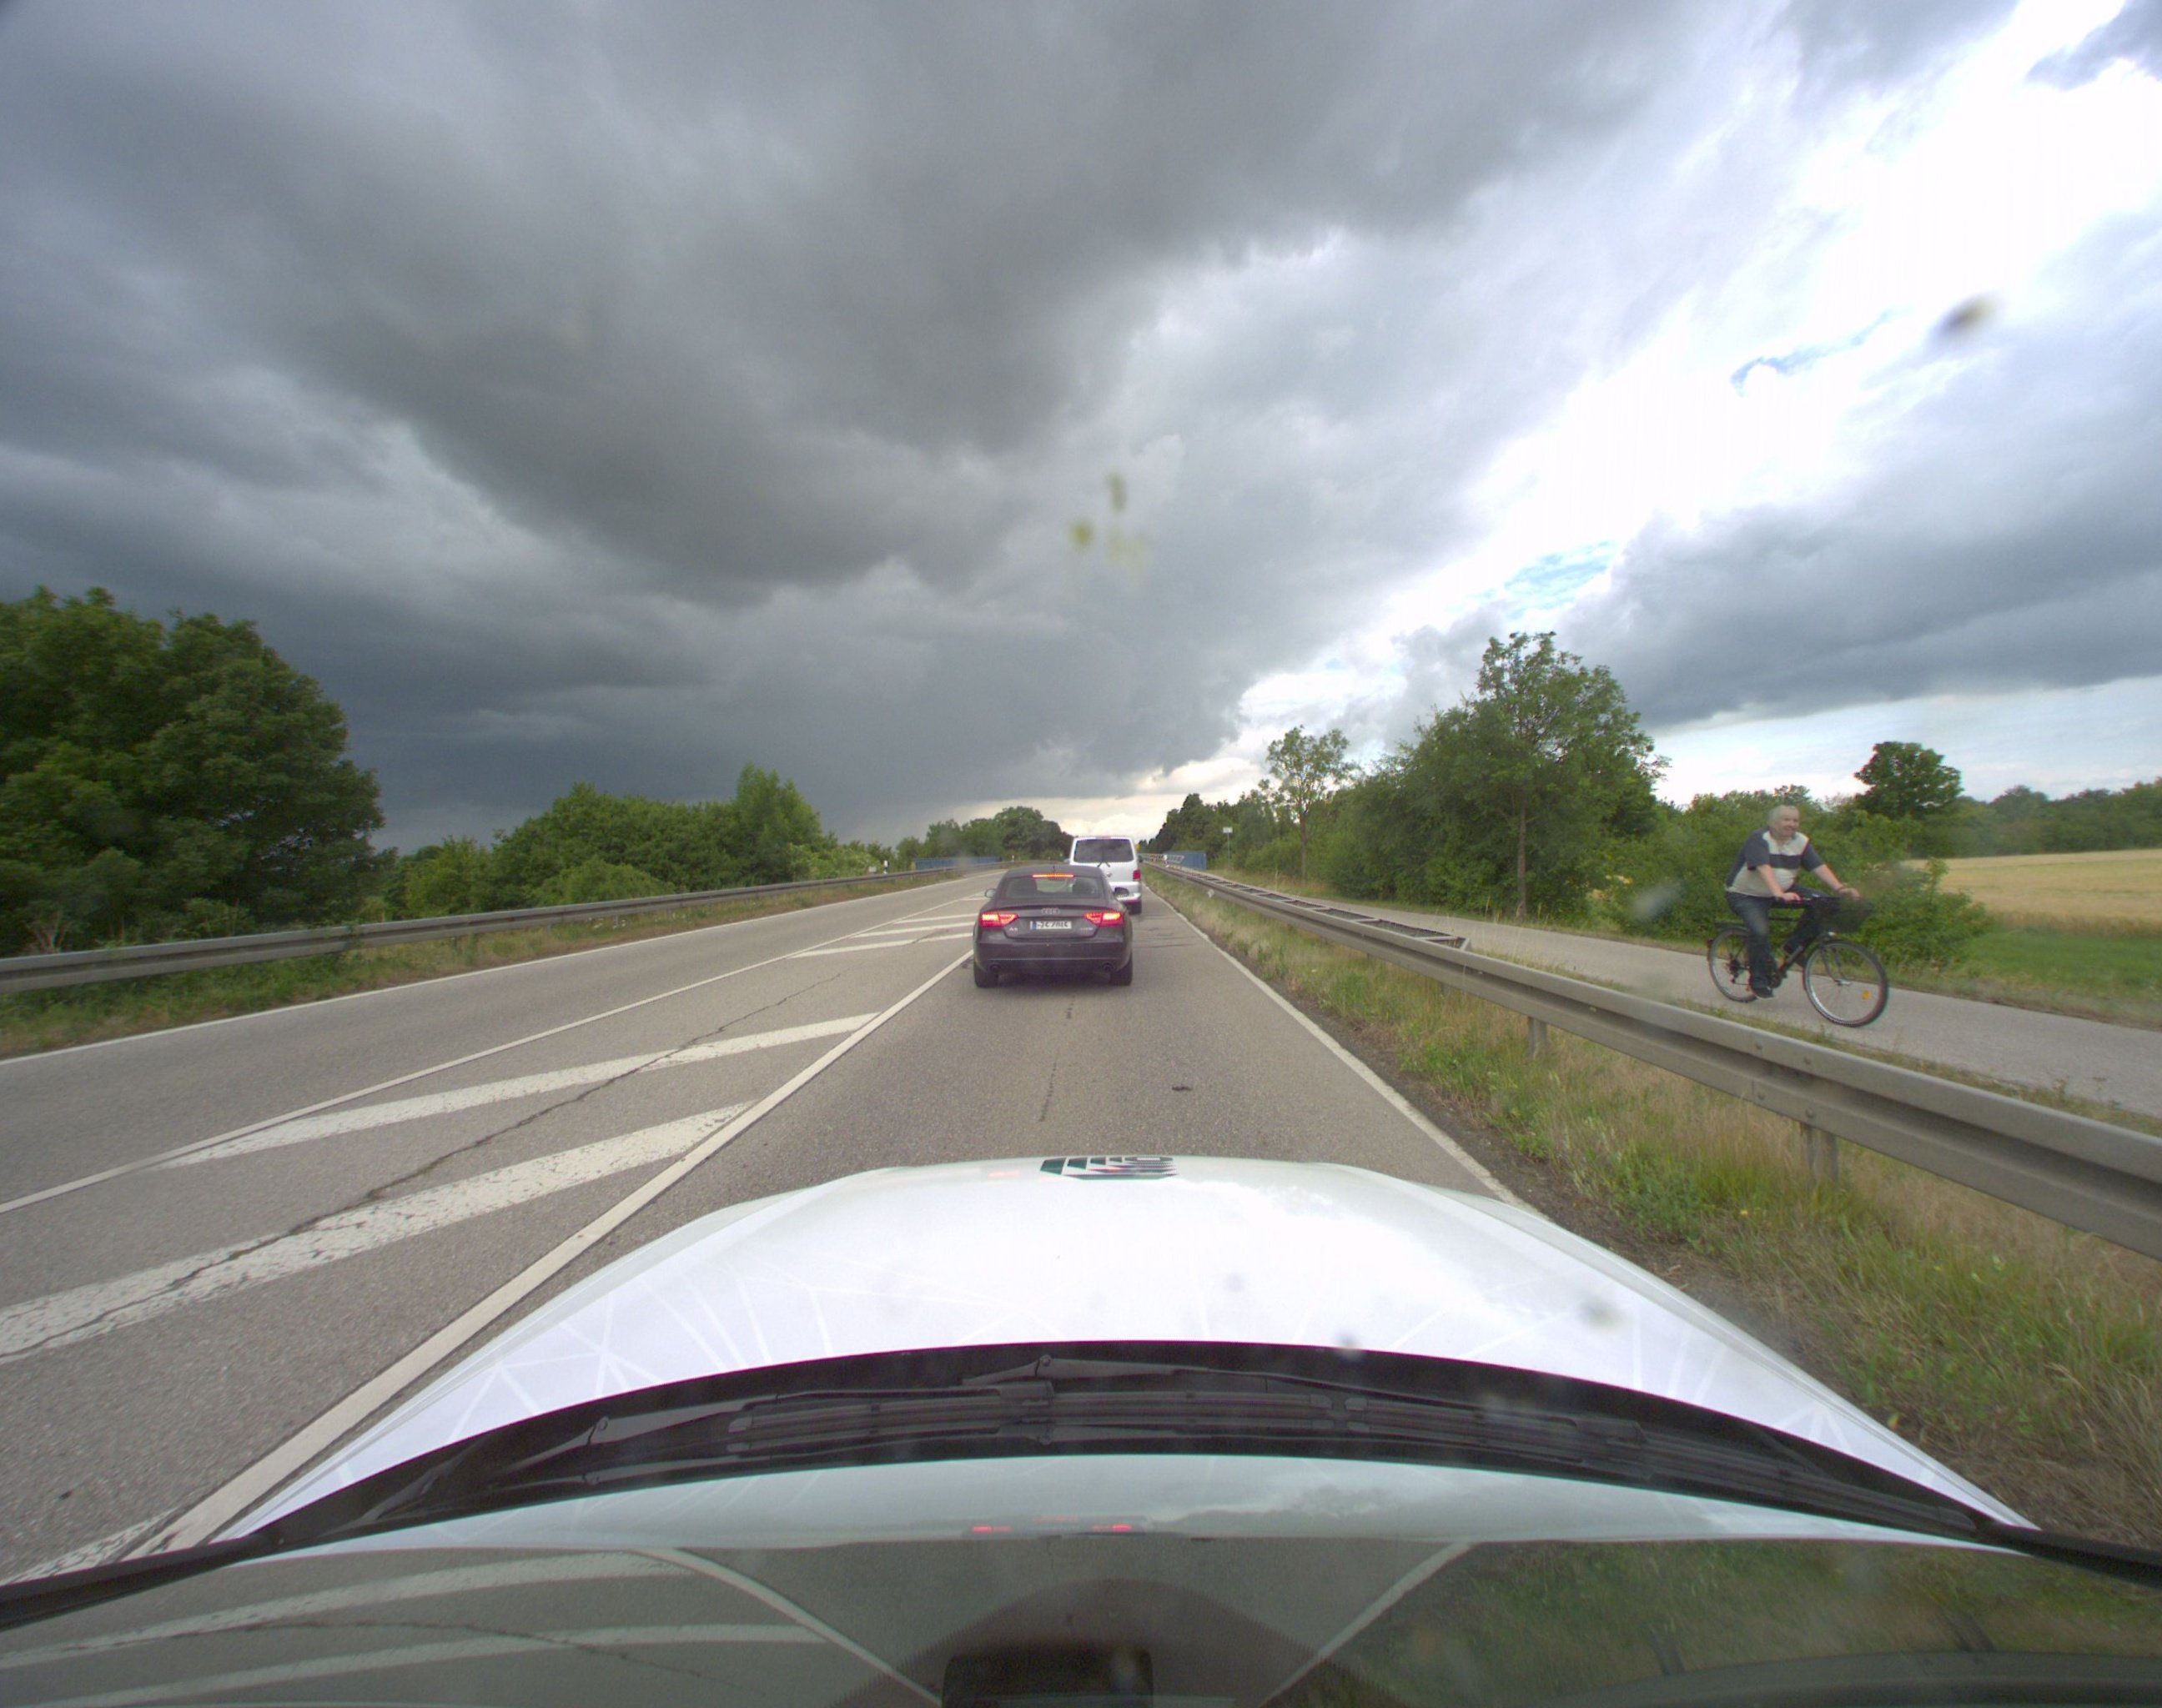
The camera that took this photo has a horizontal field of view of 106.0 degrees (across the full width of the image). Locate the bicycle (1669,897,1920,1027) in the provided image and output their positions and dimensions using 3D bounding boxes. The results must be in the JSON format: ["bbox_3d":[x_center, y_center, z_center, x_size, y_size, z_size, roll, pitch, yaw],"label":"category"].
[{"bbox_3d":[6.283,0.898,7.332,0.663,0.920,1.831,-2,0,2],"label":"bicycle"}]

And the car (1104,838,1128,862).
[{"bbox_3d":[3.678,-0.432,86.502,2.438,2.504,5.044,-1,0,2],"label":"car"}]

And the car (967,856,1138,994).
[{"bbox_3d":[-0.238,0.758,10.512,1.779,1.424,4.001,-1,-1,2],"label":"car"}]

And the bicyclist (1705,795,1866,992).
[{"bbox_3d":[6.273,0.335,7.304,0.644,1.645,0.866,-2,-1,1],"label":"bicyclist"}]

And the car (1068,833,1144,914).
[{"bbox_3d":[0.649,0.480,21.363,1.779,1.890,4.001,-1,-1,2],"label":"car"}]
